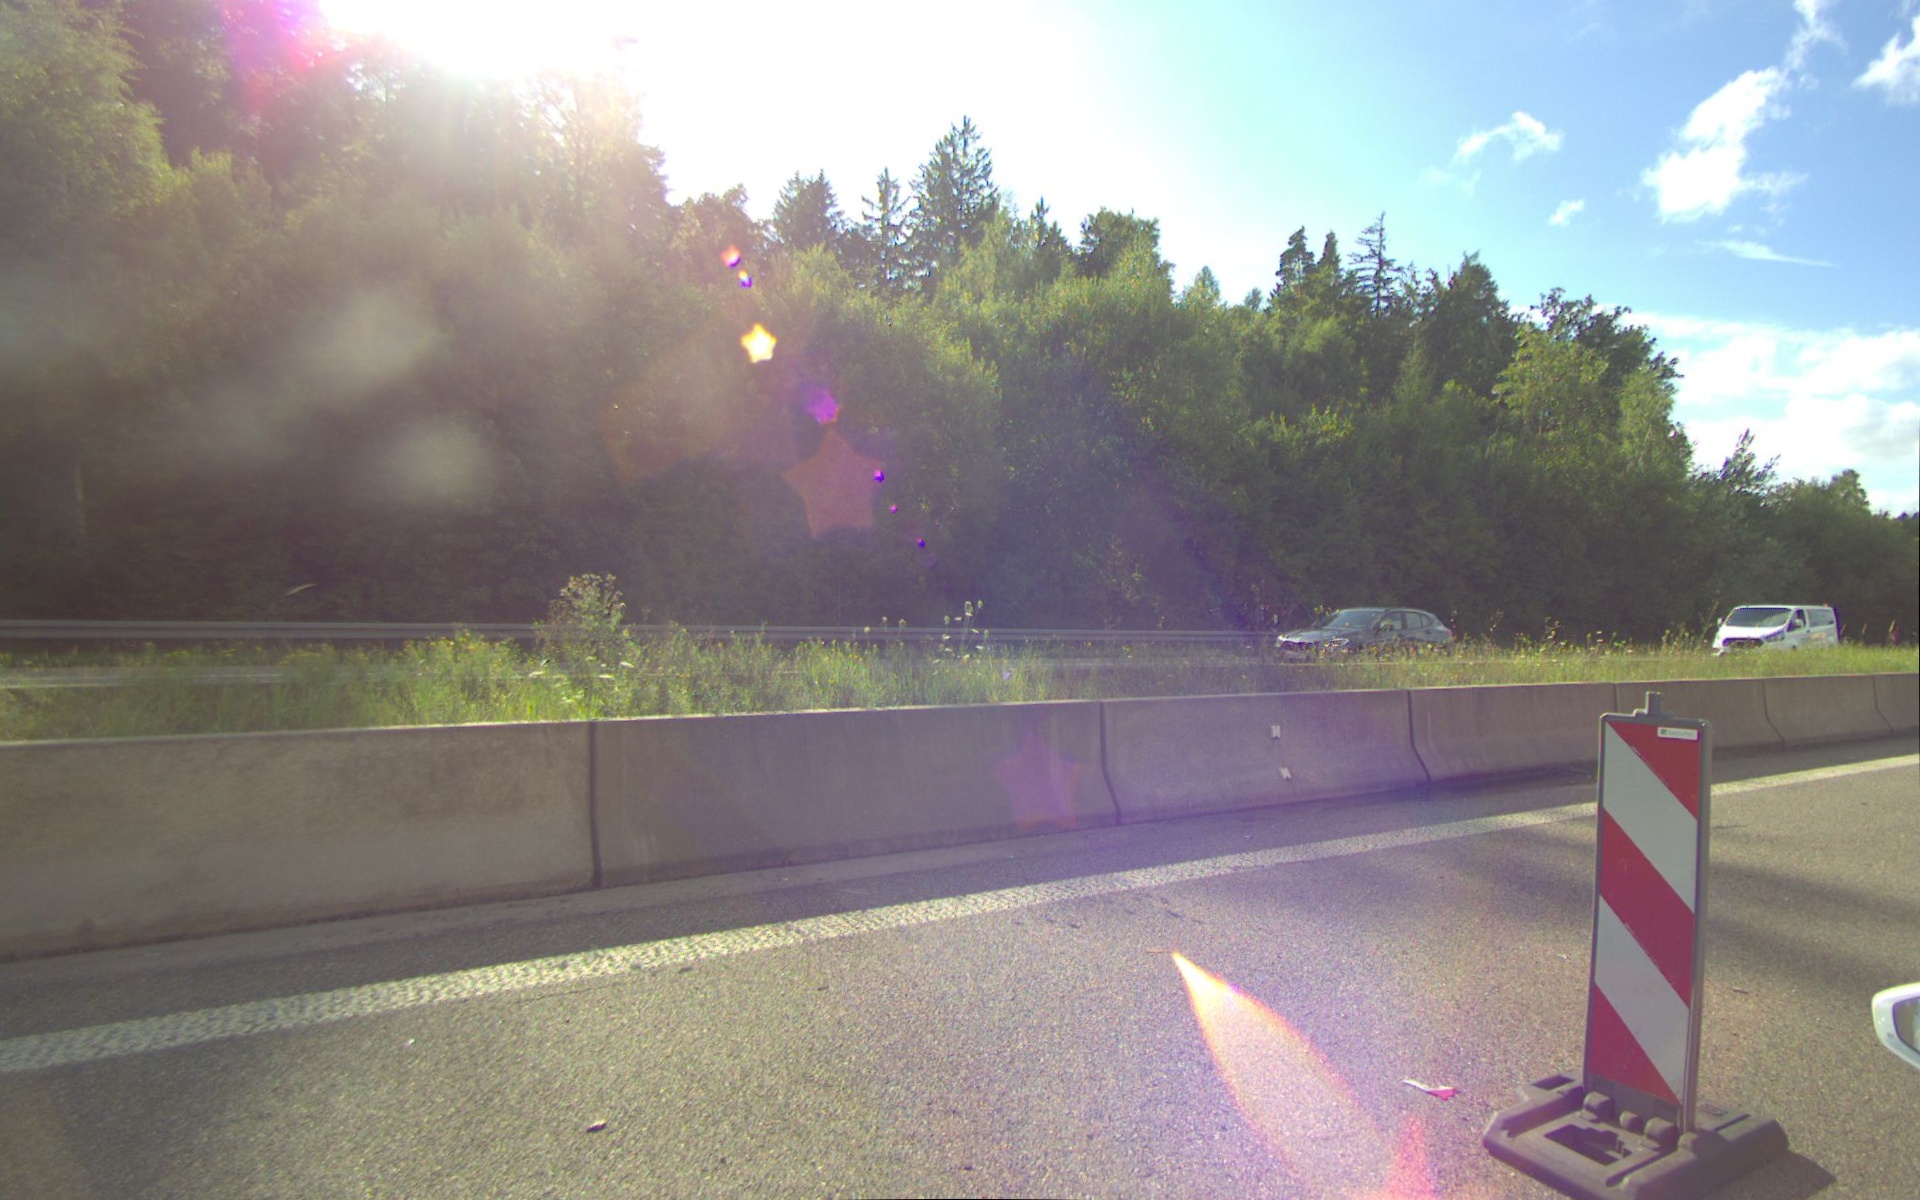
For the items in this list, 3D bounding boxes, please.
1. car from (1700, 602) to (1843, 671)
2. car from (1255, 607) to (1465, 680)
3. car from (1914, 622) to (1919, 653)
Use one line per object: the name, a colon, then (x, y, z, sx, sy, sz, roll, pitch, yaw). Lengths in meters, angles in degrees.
car: (25.973, 1.173, 32.113, 4.775, 2.040, 1.984, 2, 0, -30)
car: (8.562, 0.920, 21.429, 4.237, 1.381, 1.949, 2, 0, -30)
car: (64.250, 2.500, 65.465, 3.953, 2.040, 1.984, 2, 0, -30)
